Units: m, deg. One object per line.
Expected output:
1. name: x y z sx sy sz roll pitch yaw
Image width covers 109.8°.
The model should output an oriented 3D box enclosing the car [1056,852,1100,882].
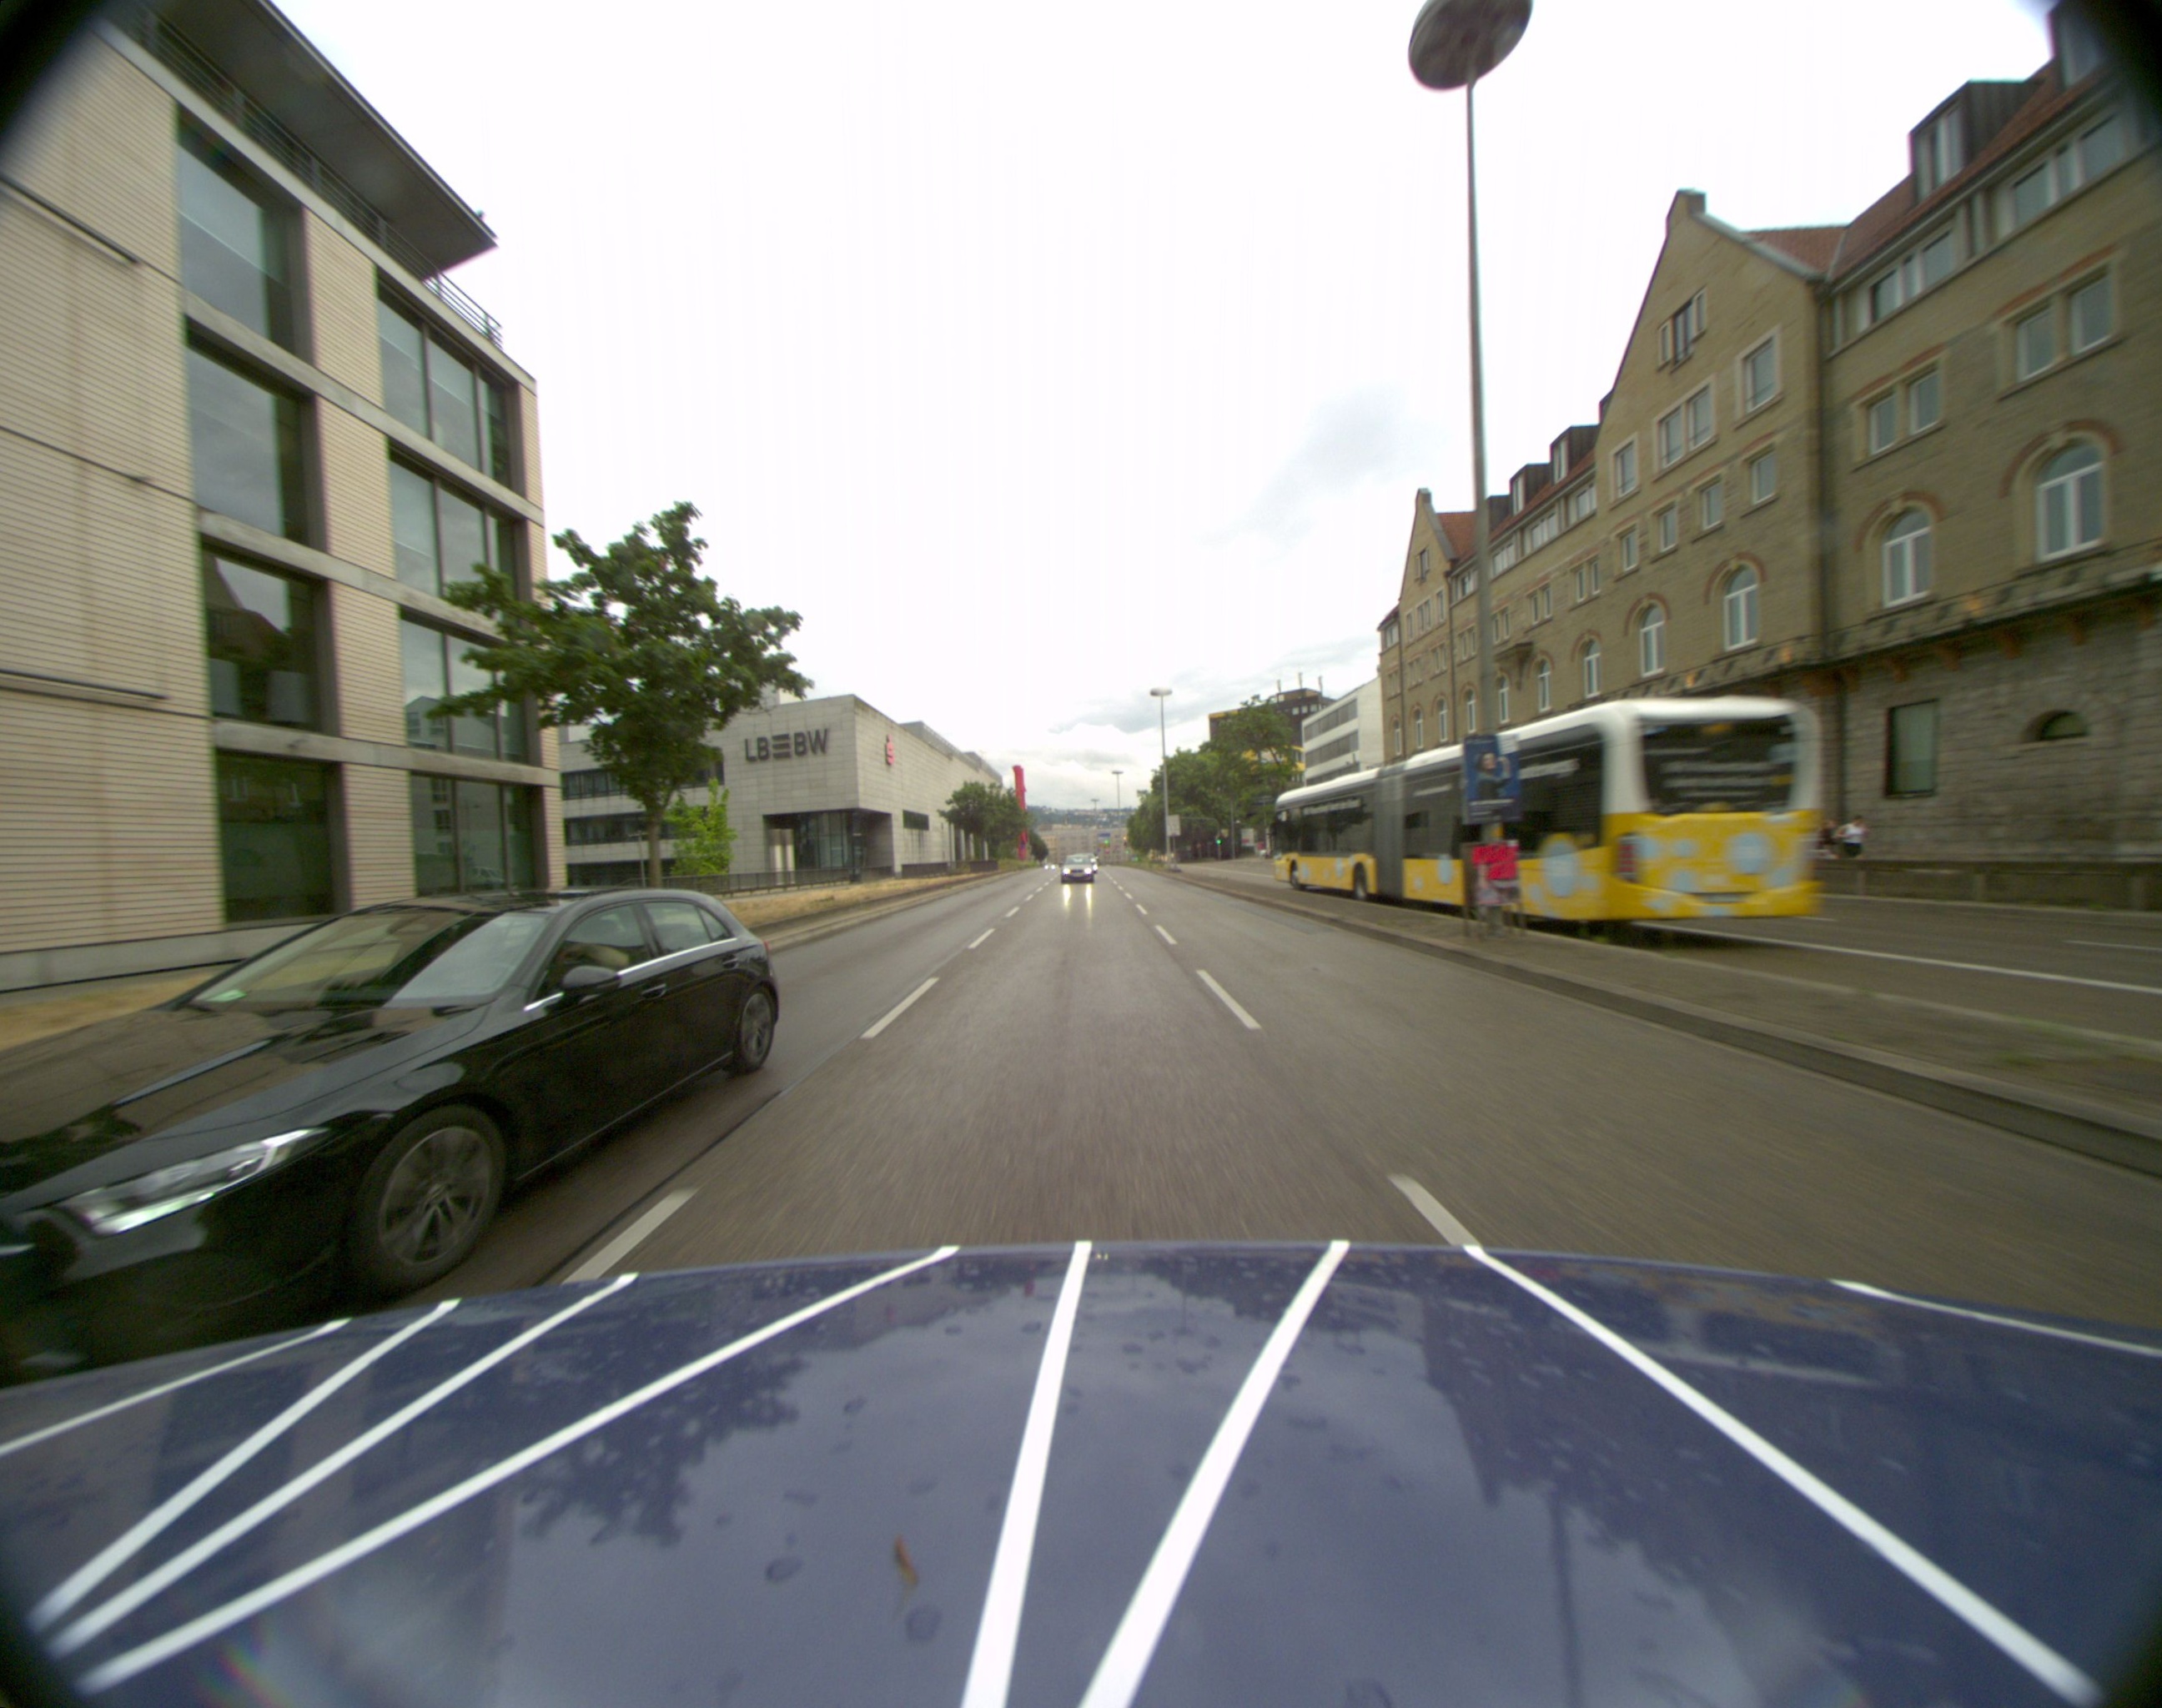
1. car: -0.117 0.663 40.397 1.862 1.428 4.207 -1 1 6

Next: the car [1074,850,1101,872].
1. car: 0.544 0.493 56.214 1.863 1.449 4.205 -1 0 2

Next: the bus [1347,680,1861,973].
1. bus: 8.155 -0.370 14.309 2.705 3.539 10.092 -1 1 0

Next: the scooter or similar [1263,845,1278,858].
1. scooter or similar: 21.142 -0.294 84.952 1.758 1.240 0.369 -5 2 -29

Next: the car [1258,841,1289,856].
1. car: 25.386 -0.718 100.199 1.995 1.644 4.852 -4 1 39

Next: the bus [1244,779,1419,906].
1. bus: 8.141 -0.316 26.431 2.705 3.538 10.093 -1 0 0

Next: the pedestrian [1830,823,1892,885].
1. pedestrian: 19.115 0.010 18.626 0.756 1.469 0.714 -1 -1 0

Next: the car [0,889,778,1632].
1. car: -3.300 1.012 3.760 1.877 1.428 4.205 -1 0 0

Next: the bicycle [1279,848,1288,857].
1. bicycle: 21.515 -0.140 80.780 0.458 0.985 1.758 -2 0 0
